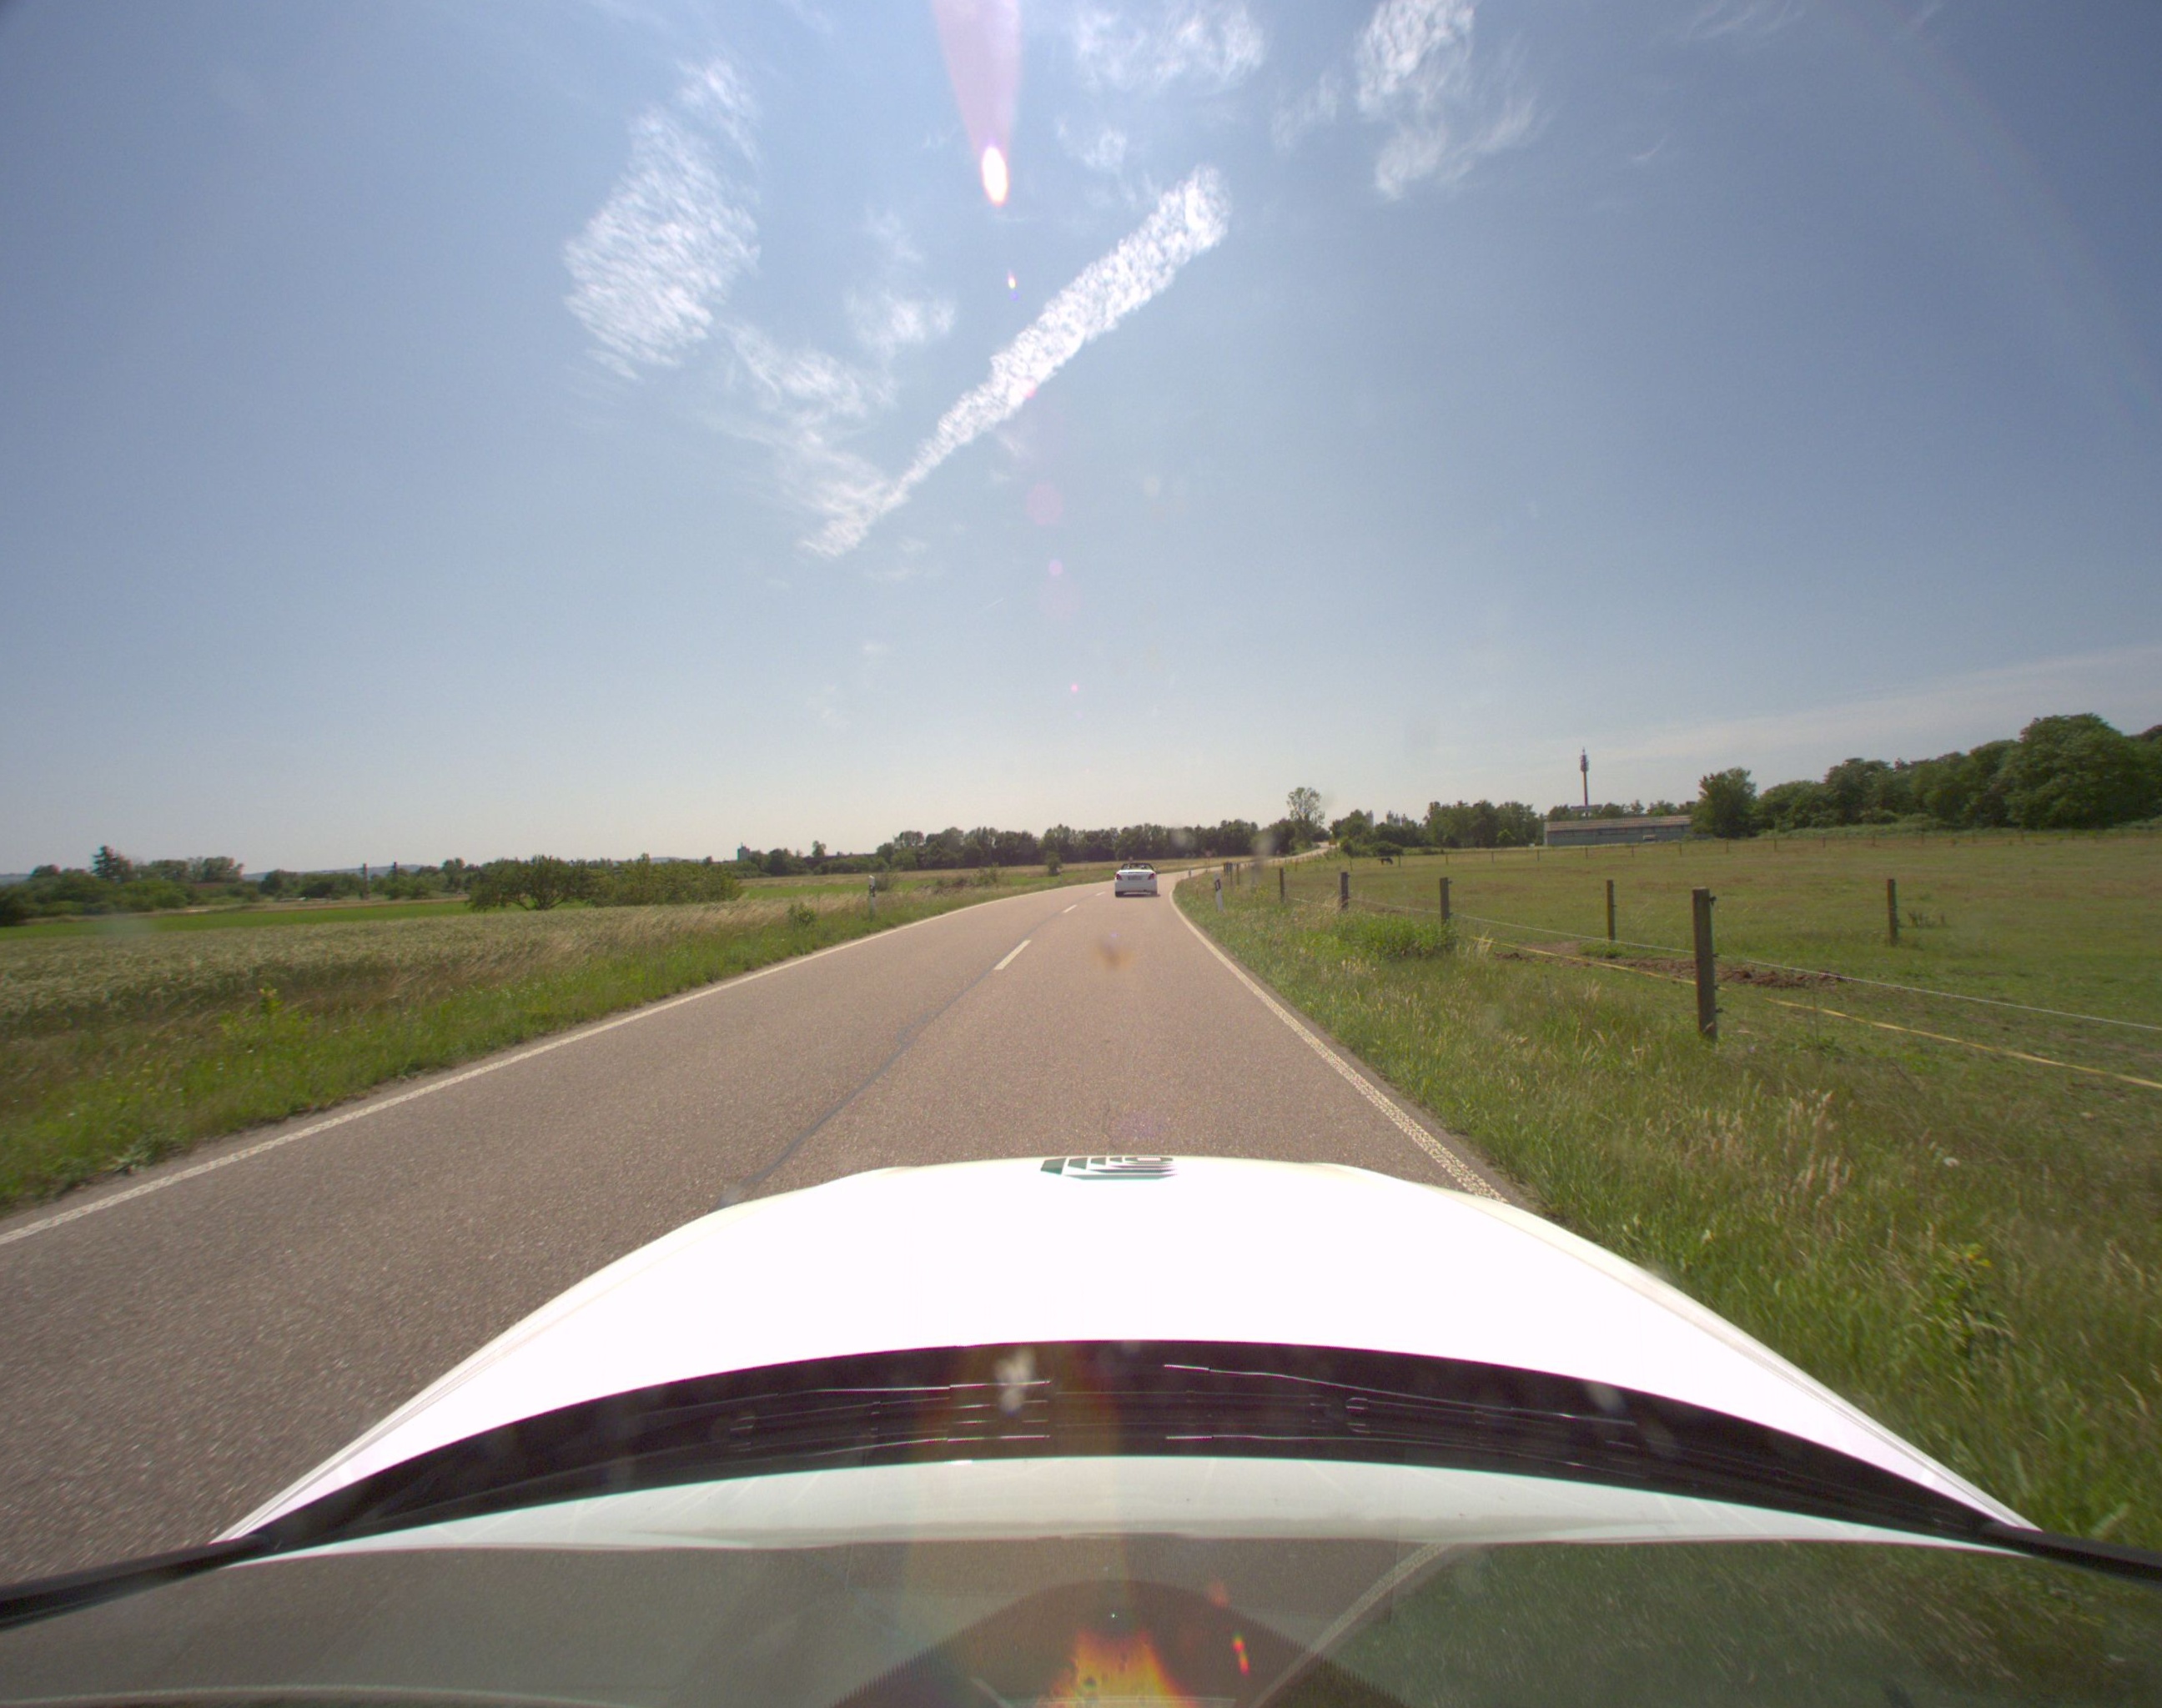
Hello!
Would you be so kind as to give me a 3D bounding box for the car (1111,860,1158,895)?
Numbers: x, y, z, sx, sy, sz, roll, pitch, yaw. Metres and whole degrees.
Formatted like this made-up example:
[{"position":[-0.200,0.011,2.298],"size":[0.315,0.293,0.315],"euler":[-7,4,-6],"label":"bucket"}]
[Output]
[{"position":[2.318,0.956,34.396],"size":[1.842,1.379,4.005],"euler":[-1,-1,5],"label":"car"}]
